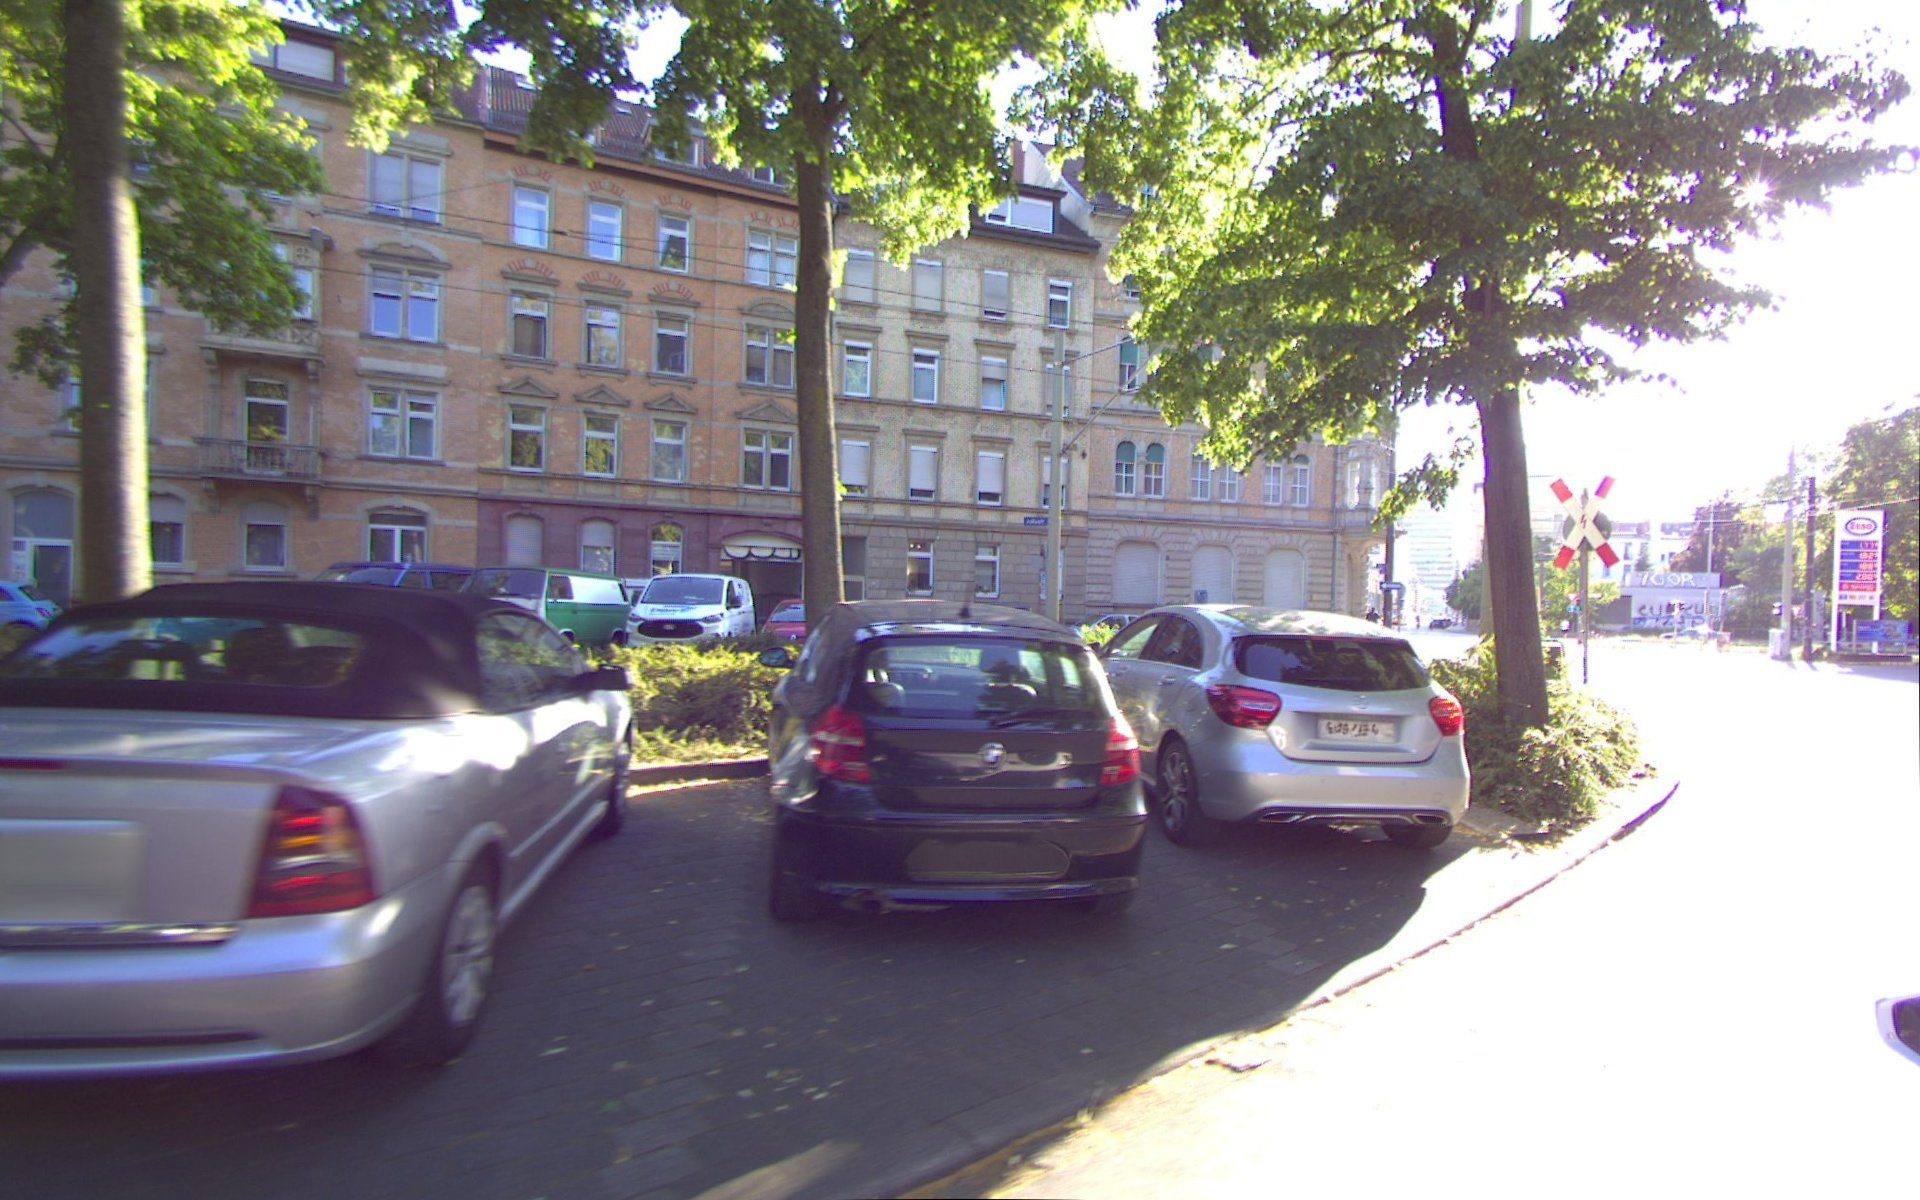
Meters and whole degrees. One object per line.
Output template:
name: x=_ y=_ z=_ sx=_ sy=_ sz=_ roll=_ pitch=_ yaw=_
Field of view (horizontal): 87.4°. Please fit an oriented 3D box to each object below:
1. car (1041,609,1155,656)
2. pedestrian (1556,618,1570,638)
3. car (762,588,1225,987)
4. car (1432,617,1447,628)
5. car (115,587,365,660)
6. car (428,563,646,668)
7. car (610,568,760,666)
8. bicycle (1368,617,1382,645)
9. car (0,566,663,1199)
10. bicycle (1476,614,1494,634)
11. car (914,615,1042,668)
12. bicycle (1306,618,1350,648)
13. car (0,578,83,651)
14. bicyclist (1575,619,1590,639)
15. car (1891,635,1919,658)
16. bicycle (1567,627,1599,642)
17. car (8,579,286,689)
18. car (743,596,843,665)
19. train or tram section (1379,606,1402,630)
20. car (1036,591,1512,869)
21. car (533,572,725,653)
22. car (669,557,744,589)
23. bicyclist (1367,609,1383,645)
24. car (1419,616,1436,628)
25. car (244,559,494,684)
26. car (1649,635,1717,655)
car: x=4.794 y=1.119 z=34.899 sx=3.441 sy=1.448 sz=1.848 roll=1 pitch=2 yaw=-20
pedestrian: x=51.164 y=2.383 z=85.261 sx=0.912 sy=1.714 sz=0.777 roll=1 pitch=0 yaw=26
car: x=-0.187 y=0.695 z=5.806 sx=1.743 sy=1.424 sz=4.032 roll=2 pitch=1 yaw=-10
car: x=67.788 y=3.225 z=141.953 sx=1.963 sy=1.506 sz=3.996 roll=1 pitch=-1 yaw=26
car: x=-17.289 y=0.541 z=24.452 sx=4.711 sy=1.562 sz=1.843 roll=1 pitch=3 yaw=-28
car: x=-8.072 y=0.293 z=19.789 sx=2.043 sy=1.788 sz=4.838 roll=1 pitch=-1 yaw=2
car: x=-5.627 y=0.343 z=21.257 sx=2.045 sy=1.788 sz=5.057 roll=1 pitch=-1 yaw=-4
bicycle: x=17.621 y=1.292 z=42.617 sx=0.493 sy=1.148 sz=2.125 roll=1 pitch=-1 yaw=23
car: x=-2.403 y=0.619 z=4.072 sx=1.742 sy=1.383 sz=3.978 roll=2 pitch=2 yaw=-9
bicycle: x=48.658 y=2.262 z=93.095 sx=1.337 sy=1.830 sz=0.565 roll=0 pitch=0 yaw=37
car: x=0.598 y=1.343 z=33.450 sx=3.823 sy=1.584 sz=1.843 roll=1 pitch=3 yaw=-28
bicycle: x=15.757 y=1.418 z=42.989 sx=1.763 sy=1.222 sz=0.501 roll=2 pitch=3 yaw=-17
car: x=-22.275 y=0.299 z=22.195 sx=4.008 sy=1.539 sz=1.843 roll=1 pitch=3 yaw=-28
bicyclist: x=44.163 y=2.062 z=71.283 sx=0.791 sy=1.432 sz=0.624 roll=1 pitch=-1 yaw=23
car: x=66.809 y=3.247 z=69.102 sx=3.941 sy=1.472 sz=1.800 roll=1 pitch=0 yaw=42
bicycle: x=44.169 y=2.429 z=71.266 sx=1.803 sy=0.998 sz=0.734 roll=1 pitch=0 yaw=23
car: x=-13.764 y=0.547 z=17.302 sx=1.627 sy=1.662 sz=3.653 roll=1 pitch=-1 yaw=4
car: x=-3.549 y=0.633 z=21.859 sx=1.683 sy=1.347 sz=3.632 roll=1 pitch=-1 yaw=-2
train or tram section: x=67.882 y=2.811 z=158.122 sx=2.207 sy=3.622 sz=14.258 roll=1 pitch=-1 yaw=27
car: x=1.919 y=0.717 z=7.655 sx=1.742 sy=1.448 sz=4.288 roll=2 pitch=1 yaw=-8
car: x=-9.380 y=0.337 z=28.532 sx=4.937 sy=2.091 sz=1.844 roll=1 pitch=3 yaw=-28
car: x=-13.528 y=-1.443 z=53.649 sx=3.441 sy=1.595 sz=1.855 roll=3 pitch=3 yaw=23
bicyclist: x=17.571 y=1.149 z=42.508 sx=0.582 sy=1.511 sz=0.702 roll=1 pitch=-1 yaw=24
car: x=62.018 y=2.905 z=133.259 sx=1.963 sy=1.483 sz=3.996 roll=1 pitch=-1 yaw=26
car: x=-10.733 y=0.383 z=18.646 sx=1.959 sy=2.040 sz=4.002 roll=1 pitch=-1 yaw=6
car: x=61.016 y=3.752 z=84.795 sx=1.769 sy=1.506 sz=4.431 roll=2 pitch=-1 yaw=-44
